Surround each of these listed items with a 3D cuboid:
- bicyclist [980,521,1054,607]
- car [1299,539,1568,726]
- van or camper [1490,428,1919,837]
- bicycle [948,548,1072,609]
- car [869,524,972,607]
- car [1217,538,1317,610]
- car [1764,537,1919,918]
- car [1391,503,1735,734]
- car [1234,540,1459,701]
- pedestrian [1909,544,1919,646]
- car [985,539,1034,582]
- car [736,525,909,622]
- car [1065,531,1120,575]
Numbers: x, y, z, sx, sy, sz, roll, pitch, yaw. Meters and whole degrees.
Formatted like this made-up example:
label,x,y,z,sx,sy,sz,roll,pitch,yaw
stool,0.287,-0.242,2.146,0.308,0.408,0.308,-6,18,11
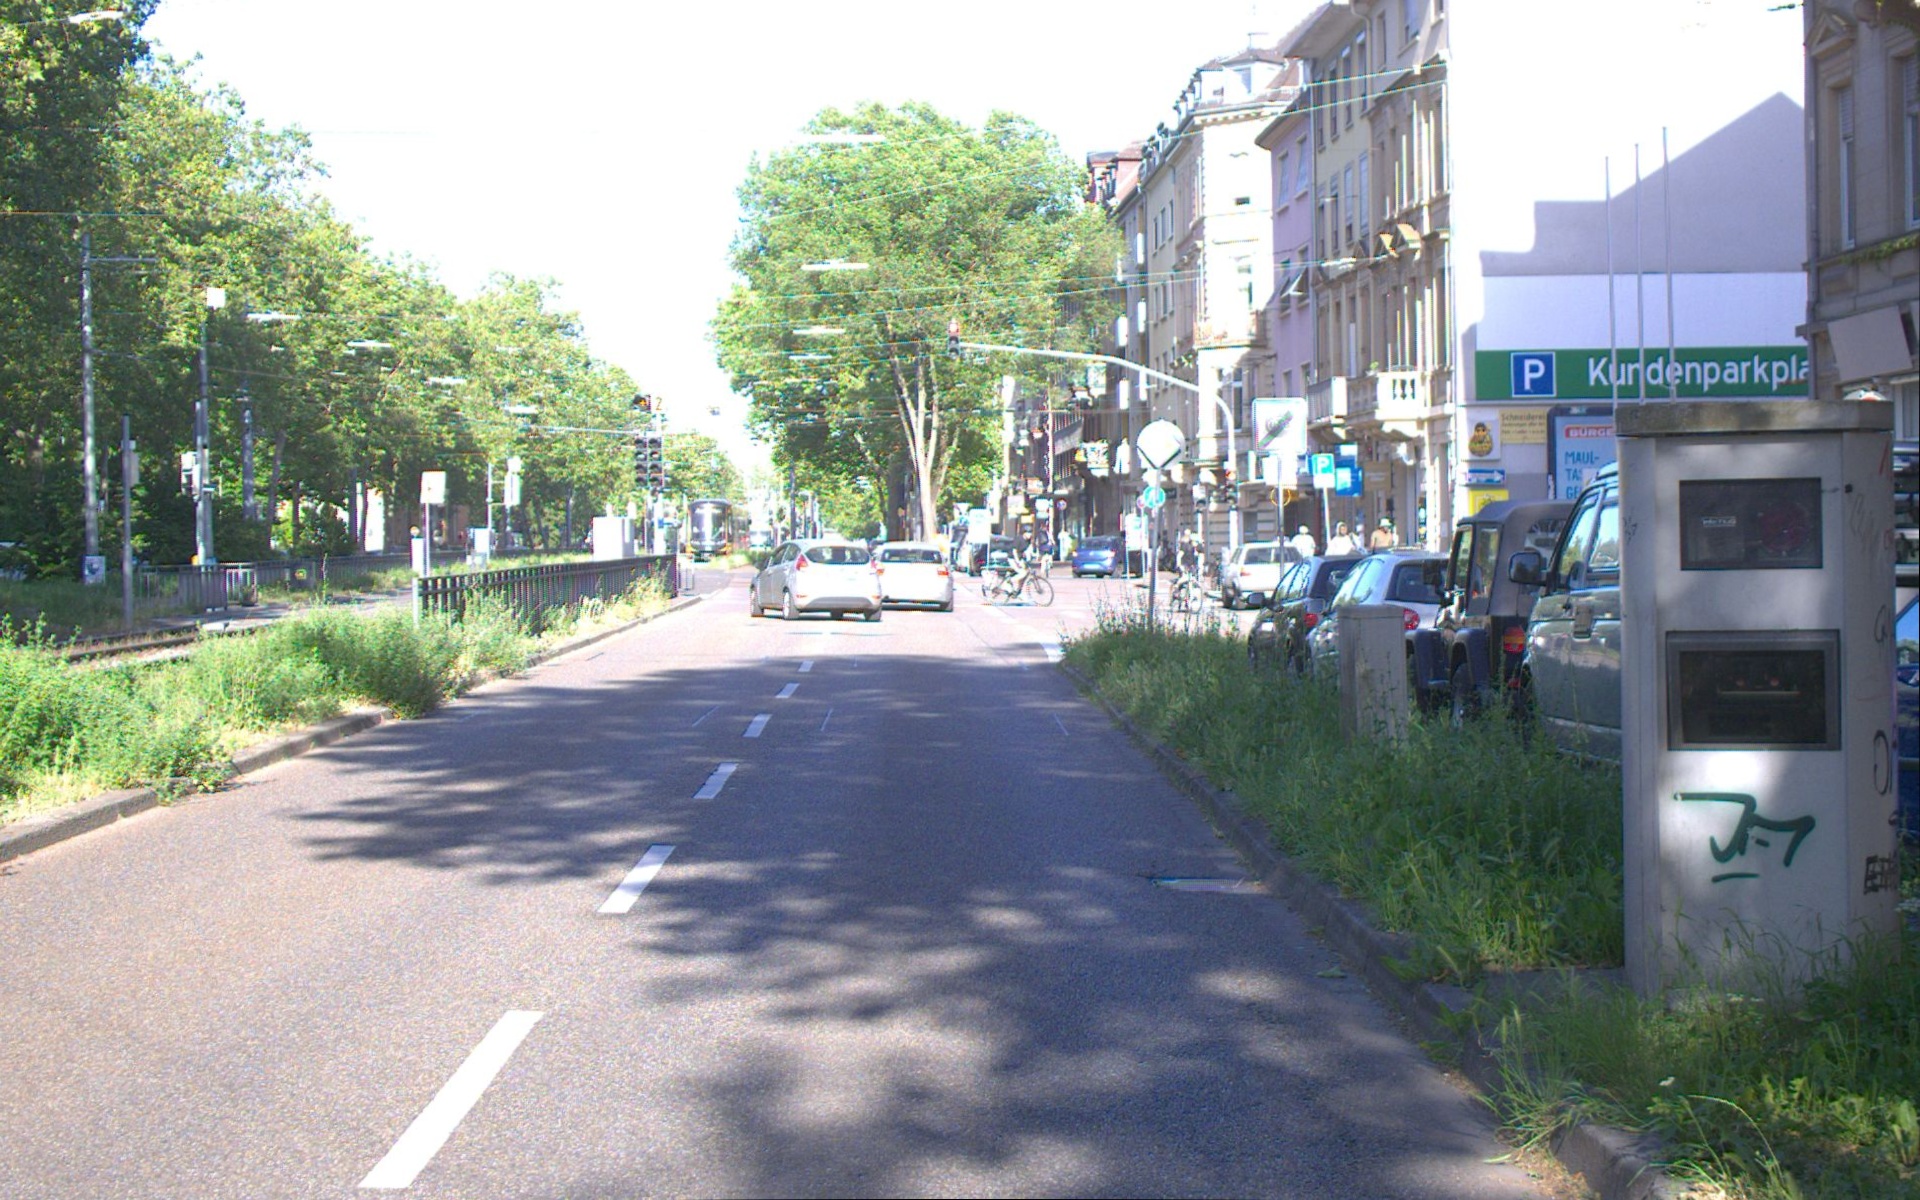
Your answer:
label,x,y,z,sx,sy,sz,roll,pitch,yaw
bicyclist,1.258,-0.802,75.842,1.325,1.875,0.980,0,1,25
car,4.006,0.234,29.597,1.683,1.504,3.668,0,1,-2
van or camper,4.346,0.119,19.080,1.839,1.956,5.127,0,1,-2
bicycle,1.105,-0.475,75.917,2.526,1.310,0.988,0,1,25
car,-0.841,-0.736,71.484,2.021,1.656,4.001,0,1,-2
car,6.591,-0.565,74.106,1.683,1.504,3.668,0,1,-2
car,4.635,0.507,13.865,1.682,1.508,3.668,0,1,-4
car,4.213,0.082,24.531,1.683,1.504,3.668,-1,1,-2
car,3.764,0.162,34.030,1.683,1.504,3.668,0,1,-2
pedestrian,11.155,-0.055,38.761,0.707,1.147,0.740,0,1,0
car,1.750,-1.405,122.534,1.683,1.504,3.667,0,1,0
car,-2.480,-0.489,61.120,2.021,1.656,4.001,-1,1,-19
car,4.686,-1.671,121.779,1.683,1.504,3.668,0,1,-2
